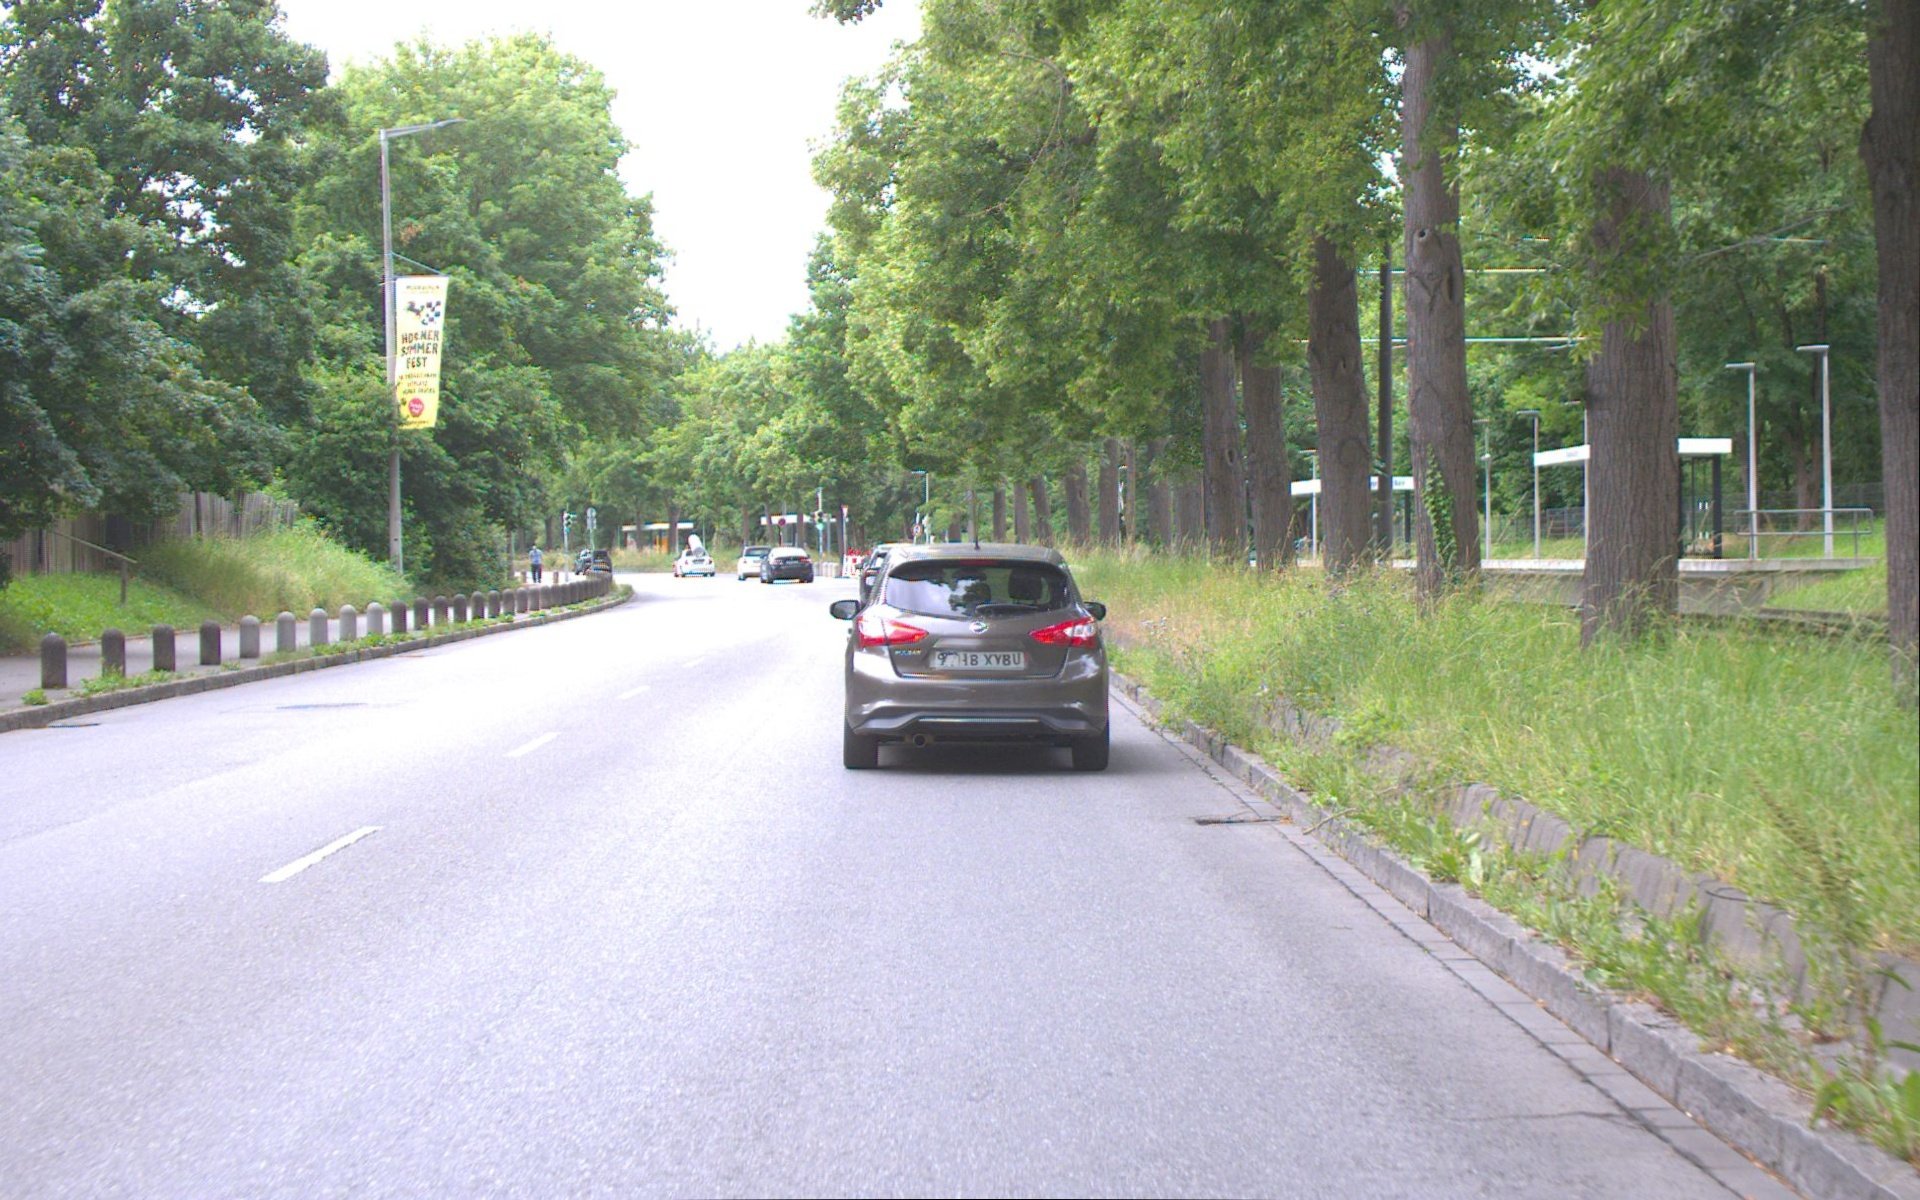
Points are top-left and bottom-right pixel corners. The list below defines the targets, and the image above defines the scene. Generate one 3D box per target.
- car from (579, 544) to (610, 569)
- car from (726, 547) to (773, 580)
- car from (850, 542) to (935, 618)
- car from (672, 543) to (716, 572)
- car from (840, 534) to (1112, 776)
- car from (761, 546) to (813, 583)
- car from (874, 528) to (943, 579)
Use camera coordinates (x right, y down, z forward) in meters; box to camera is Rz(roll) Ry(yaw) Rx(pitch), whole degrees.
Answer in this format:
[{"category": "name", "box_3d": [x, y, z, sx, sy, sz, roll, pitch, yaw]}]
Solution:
[{"category": "car", "box_3d": [-22.262, -2.648, 209.198, 1.561, 1.436, 3.553, 0, 1, -11]}, {"category": "car", "box_3d": [-9.423, -1.643, 153.810, 1.561, 1.436, 3.553, 0, 1, -12]}, {"category": "car", "box_3d": [-1.439, -0.443, 72.542, 1.730, 1.532, 3.552, 1, 1, -1]}, {"category": "car", "box_3d": [-13.604, -2.158, 175.778, 1.561, 1.436, 3.553, 0, 1, -15]}, {"category": "car", "box_3d": [0.061, 0.320, 23.846, 1.730, 1.532, 3.552, 1, 1, -1]}, {"category": "car", "box_3d": [-6.984, -1.425, 138.488, 1.561, 1.436, 3.553, 0, 1, -12]}, {"category": "car", "box_3d": [-1.500, -1.360, 99.387, 1.561, 1.436, 3.553, 1, 1, -8]}]
